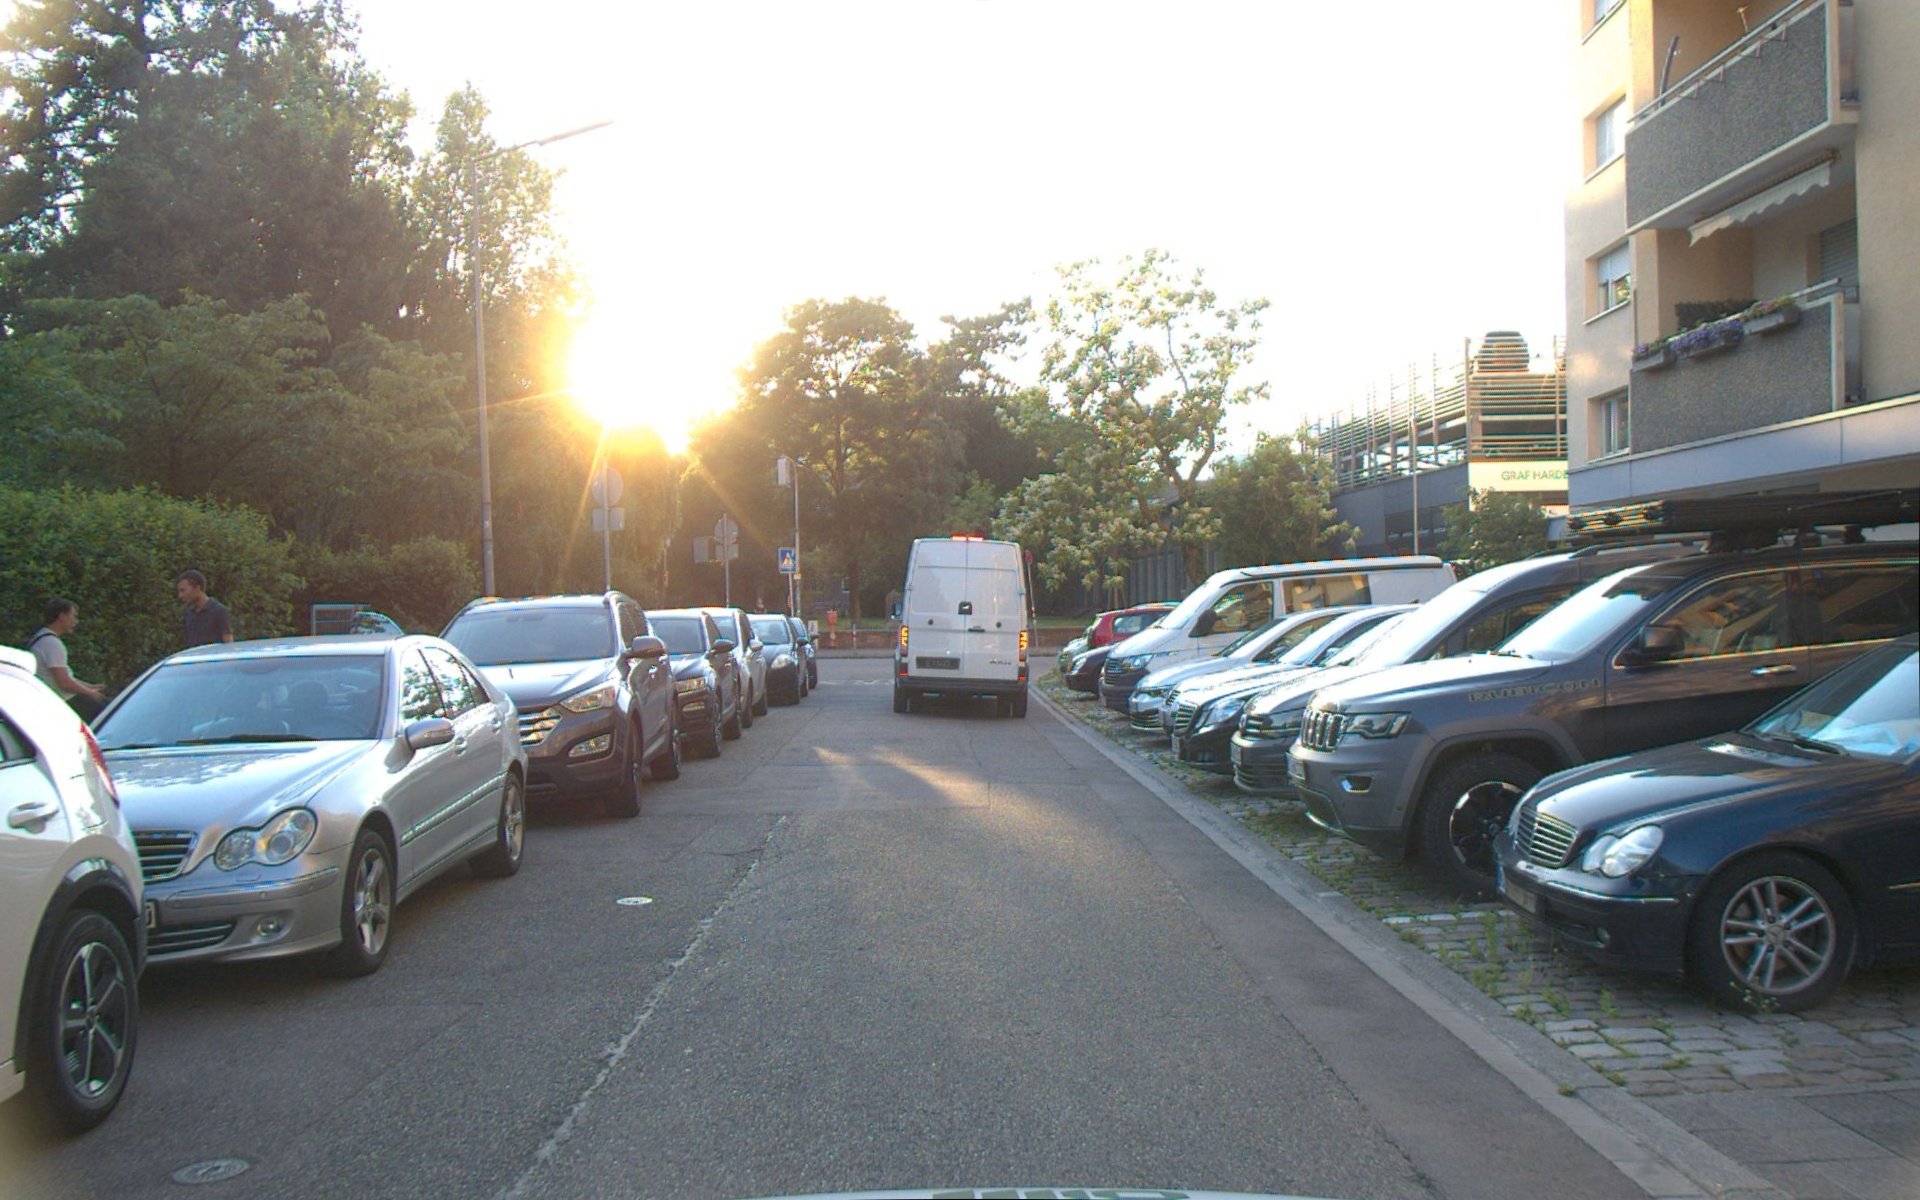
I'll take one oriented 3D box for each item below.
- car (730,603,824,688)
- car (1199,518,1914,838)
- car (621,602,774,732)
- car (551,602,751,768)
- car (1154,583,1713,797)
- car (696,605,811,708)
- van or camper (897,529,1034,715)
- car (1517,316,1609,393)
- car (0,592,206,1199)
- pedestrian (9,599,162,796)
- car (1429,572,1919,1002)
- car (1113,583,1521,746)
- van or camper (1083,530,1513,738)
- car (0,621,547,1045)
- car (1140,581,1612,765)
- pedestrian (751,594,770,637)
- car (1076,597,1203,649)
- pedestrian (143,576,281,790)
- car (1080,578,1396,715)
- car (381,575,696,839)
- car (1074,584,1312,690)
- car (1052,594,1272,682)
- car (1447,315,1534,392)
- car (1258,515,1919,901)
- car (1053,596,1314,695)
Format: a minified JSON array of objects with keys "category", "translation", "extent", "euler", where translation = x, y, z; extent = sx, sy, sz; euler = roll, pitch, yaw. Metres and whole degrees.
[{"category":"car","translation":[-3.718,0.889,34.131],"extent":[1.699,1.594,3.787],"euler":[-2,0,-4]},{"category":"car","translation":[4.219,0.556,12.231],"extent":[4.543,2.016,1.845],"euler":[-2,-2,-2]},{"category":"car","translation":[-3.595,0.862,23.261],"extent":[1.699,1.594,4.126],"euler":[-2,0,-4]},{"category":"car","translation":[-3.364,0.854,18.703],"extent":[1.699,1.594,4.164],"euler":[-2,0,-4]},{"category":"car","translation":[4.010,0.767,14.524],"extent":[4.315,1.590,1.845],"euler":[-2,-2,-2]},{"category":"car","translation":[-3.483,0.908,28.470],"extent":[1.699,1.594,3.694],"euler":[-2,0,-4]},{"category":"van or camper","translation":[0.018,0.327,26.893],"extent":[1.953,2.664,6.401],"euler":[0,0,-1]},{"category":"car","translation":[20.879,-8.472,57.416],"extent":[1.951,2.049,4.002],"euler":[0,-1,4]},{"category":"car","translation":[-3.233,0.792,3.264],"extent":[1.724,1.570,4.277],"euler":[-2,0,-4]},{"category":"pedestrian","translation":[-7.143,0.776,13.549],"extent":[0.733,1.534,0.901],"euler":[2,-1,-3]},{"category":"car","translation":[4.483,0.687,7.200],"extent":[4.313,1.581,1.845],"euler":[-2,-2,1]},{"category":"car","translation":[4.086,0.751,19.422],"extent":[4.315,1.660,1.845],"euler":[-2,-2,-2]},{"category":"van or camper","translation":[4.296,0.429,21.588],"extent":[5.032,2.205,2.039],"euler":[-4,-1,-3]},{"category":"car","translation":[-3.319,0.885,8.177],"extent":[1.699,1.452,4.283],"euler":[-2,0,-4]},{"category":"car","translation":[4.141,0.741,16.970],"extent":[4.315,1.621,1.845],"euler":[-2,-2,-2]},{"category":"pedestrian","translation":[-7.833,0.594,64.938],"extent":[0.633,1.677,0.674],"euler":[1,0,-1]},{"category":"car","translation":[5.685,0.711,52.642],"extent":[3.778,1.601,1.957],"euler":[0,0,-3]},{"category":"pedestrian","translation":[-6.455,0.693,14.266],"extent":[0.886,1.763,0.745],"euler":[2,-1,43]},{"category":"car","translation":[4.040,0.693,24.482],"extent":[4.241,1.690,1.780],"euler":[-3,-2,-4]},{"category":"car","translation":[-3.266,0.741,13.638],"extent":[1.699,1.760,4.319],"euler":[-2,0,-4]},{"category":"car","translation":[4.501,0.713,32.422],"extent":[4.314,1.659,1.846],"euler":[-5,0,1]},{"category":"car","translation":[4.215,0.809,34.978],"extent":[4.316,1.660,1.844],"euler":[-2,-2,-4]},{"category":"car","translation":[18.357,-8.507,57.398],"extent":[1.951,2.049,4.002],"euler":[0,-1,4]},{"category":"car","translation":[4.144,0.538,9.582],"extent":[4.421,1.895,1.845],"euler":[-2,-1,-2]},{"category":"car","translation":[3.943,0.818,29.649],"extent":[4.316,1.558,1.844],"euler":[-2,-2,-4]}]
